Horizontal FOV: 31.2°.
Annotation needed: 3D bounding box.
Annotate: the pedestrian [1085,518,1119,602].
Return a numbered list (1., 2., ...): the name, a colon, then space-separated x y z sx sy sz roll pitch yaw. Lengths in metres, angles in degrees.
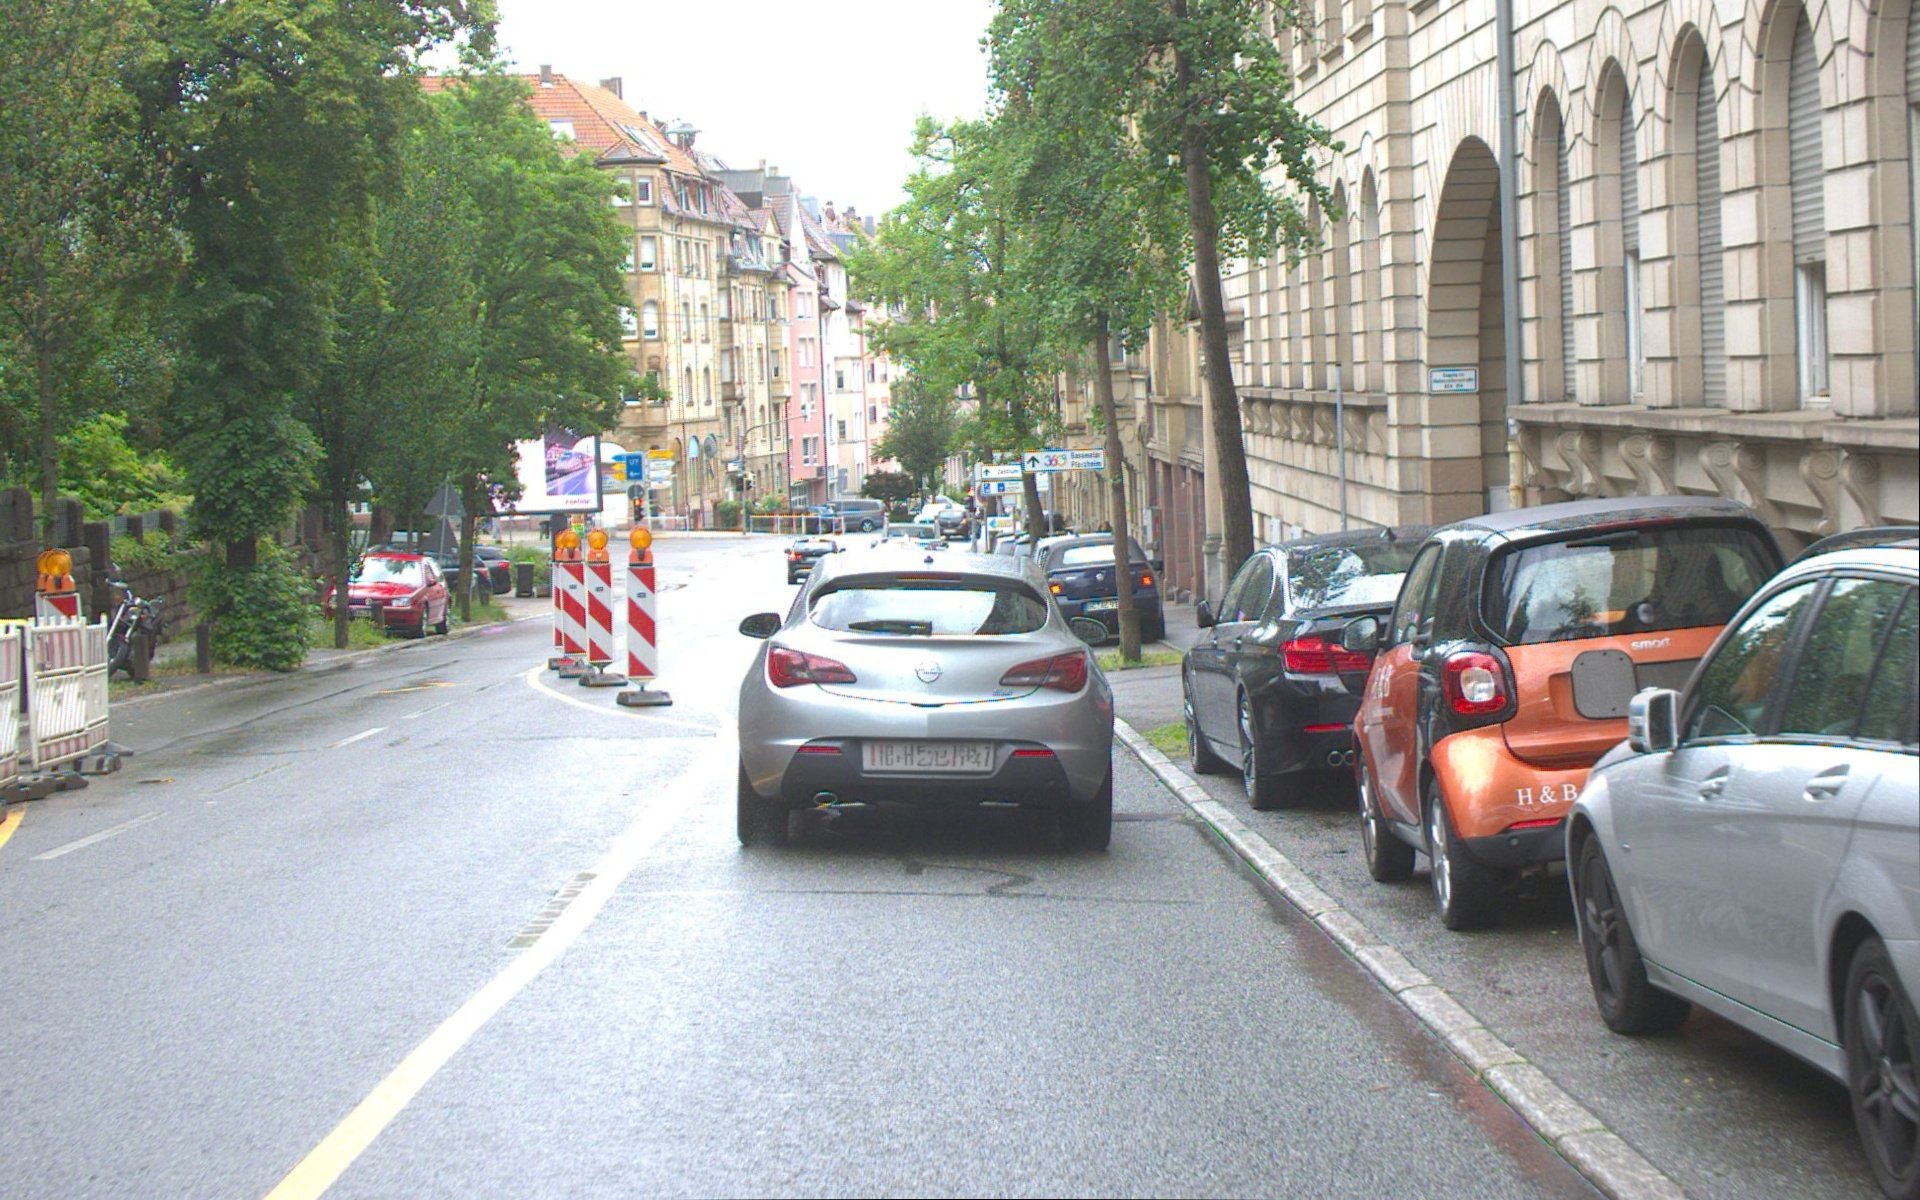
1. pedestrian: 3.181 -0.896 77.039 0.716 1.863 0.636 1 0 -1

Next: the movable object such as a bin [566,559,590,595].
1. movable object such as a bin: -11.612 -0.704 104.467 0.658 1.055 0.627 1 1 -9

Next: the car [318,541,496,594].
1. car: -14.342 -0.850 89.184 4.308 1.239 1.643 -2 2 -19

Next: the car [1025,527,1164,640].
1. car: 1.791 -0.253 46.618 1.637 1.424 3.377 -2 1 -1

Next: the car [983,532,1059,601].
1. car: 1.423 -0.820 81.326 1.637 1.519 3.858 -2 1 -1

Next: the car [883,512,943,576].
1. car: -1.325 -1.606 97.800 1.656 1.776 3.666 0 1 -1

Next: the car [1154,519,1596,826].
1. car: 2.265 0.316 19.987 1.757 1.456 4.724 -4 1 -2

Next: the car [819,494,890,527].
1. car: -5.990 -5.077 195.174 3.987 1.744 2.000 1 1 -1

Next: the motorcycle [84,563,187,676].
1. motorcycle: -10.105 0.221 42.213 0.765 1.341 2.203 1 0 -1

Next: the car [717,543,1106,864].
1. car: -0.229 0.452 17.944 1.811 1.444 3.869 0 2 0

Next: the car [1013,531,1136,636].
1. car: 1.687 -0.277 51.732 1.637 1.464 3.858 -2 1 -1

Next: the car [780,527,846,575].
1. car: -4.806 -1.621 112.984 1.993 1.495 4.000 -1 1 0

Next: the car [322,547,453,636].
1. car: -10.050 -0.181 60.603 1.637 1.434 4.080 -2 1 -1

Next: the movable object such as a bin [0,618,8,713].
1. movable object such as a bin: -9.522 0.629 32.971 0.604 0.904 0.624 1 1 0

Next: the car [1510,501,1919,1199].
1. car: 2.684 0.486 8.546 1.695 1.426 4.423 -4 1 -2

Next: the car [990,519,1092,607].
1. car: 1.541 -0.742 66.562 1.637 1.597 3.858 -2 1 -3

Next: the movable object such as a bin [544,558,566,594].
1. movable object such as a bin: -12.182 -0.735 103.364 0.625 1.055 0.720 1 1 -7

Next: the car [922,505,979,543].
1. car: -0.421 -3.570 161.931 1.994 1.678 3.998 2 1 9

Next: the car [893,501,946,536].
1. car: -2.025 -4.117 174.115 1.994 1.678 3.998 2 1 9

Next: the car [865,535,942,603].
1. car: -1.378 -0.764 83.162 1.656 1.537 3.666 -3 1 -3

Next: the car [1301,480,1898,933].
1. car: 2.462 0.345 13.950 1.638 1.515 3.184 -4 1 -2

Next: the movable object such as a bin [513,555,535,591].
1. movable object such as a bin: -13.130 -0.807 103.428 0.625 1.055 0.634 1 1 -7

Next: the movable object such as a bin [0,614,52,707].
1. movable object such as a bin: -9.474 0.600 34.396 0.604 0.904 0.624 1 1 0

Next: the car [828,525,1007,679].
1. car: -0.448 -0.023 36.039 1.772 1.499 3.869 0 2 -1
